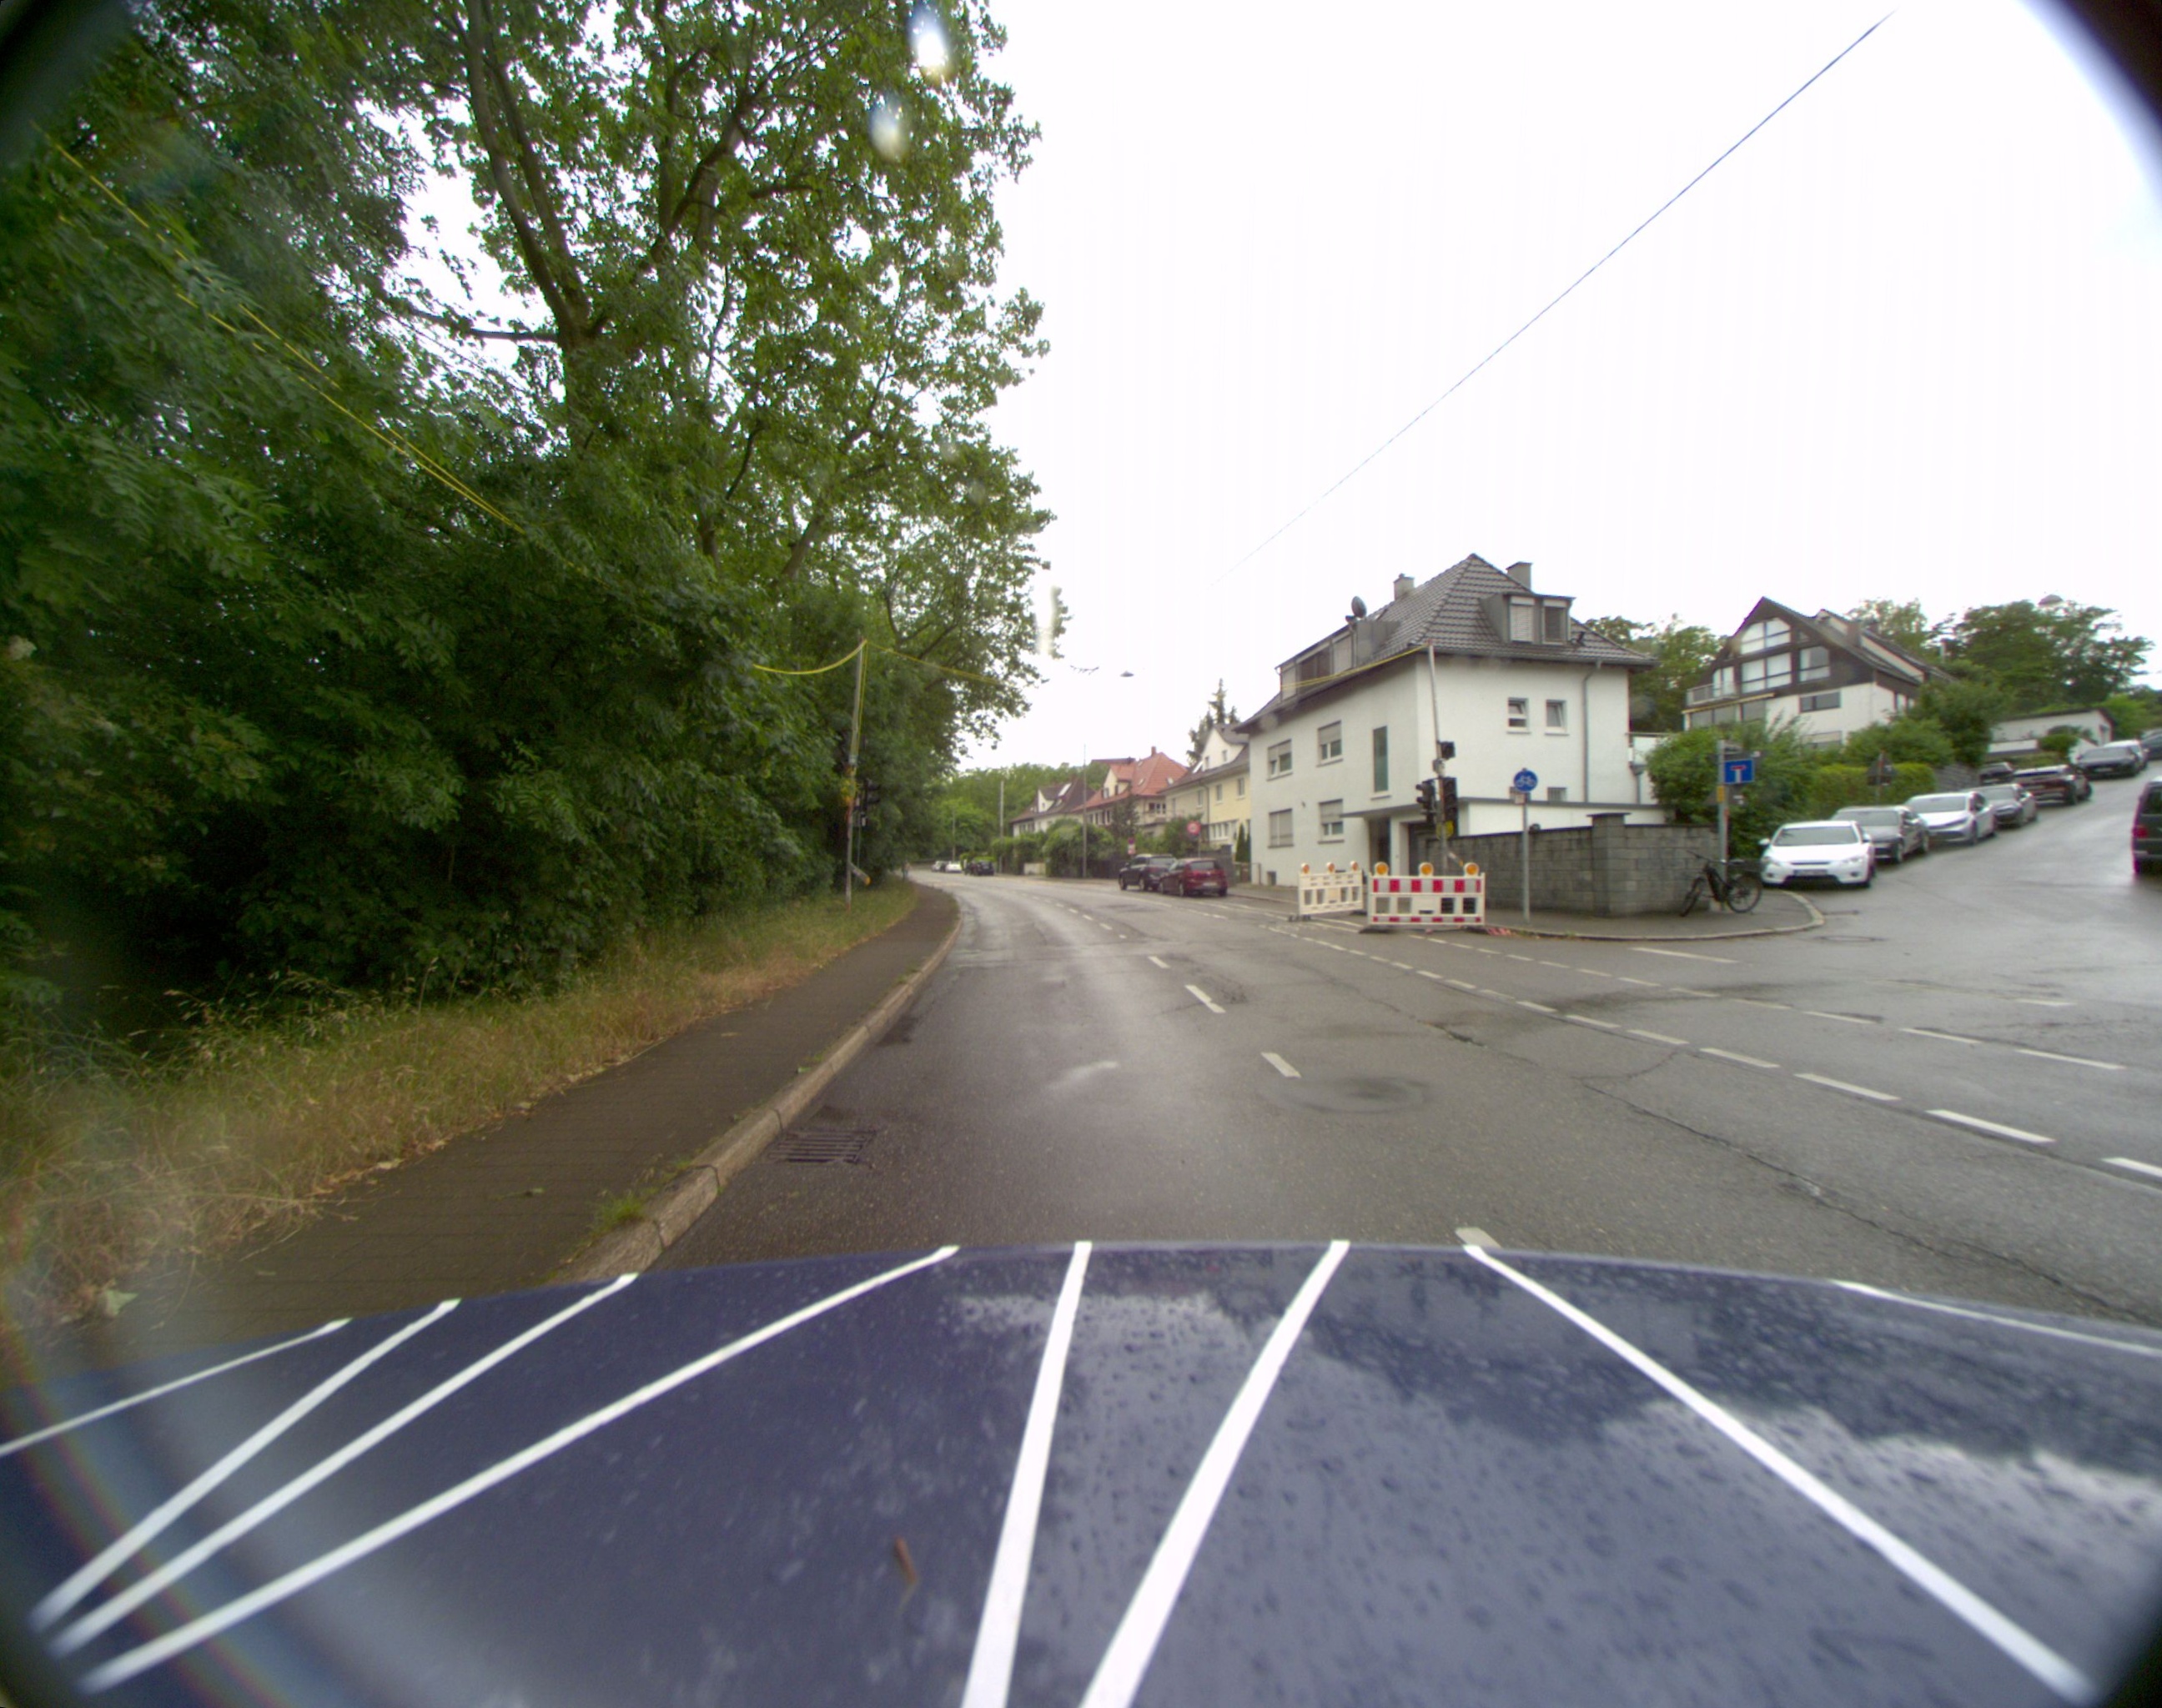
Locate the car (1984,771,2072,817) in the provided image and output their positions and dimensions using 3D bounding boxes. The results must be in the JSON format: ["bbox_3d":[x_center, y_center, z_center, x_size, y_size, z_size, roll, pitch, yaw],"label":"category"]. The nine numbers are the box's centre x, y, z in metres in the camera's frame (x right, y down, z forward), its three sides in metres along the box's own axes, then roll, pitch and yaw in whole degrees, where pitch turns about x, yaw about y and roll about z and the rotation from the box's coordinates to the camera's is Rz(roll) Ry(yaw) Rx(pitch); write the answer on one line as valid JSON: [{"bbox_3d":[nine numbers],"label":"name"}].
[{"bbox_3d":[40.096,-2.545,32.165,4.005,1.711,1.886,-4,3,-32],"label":"car"}]

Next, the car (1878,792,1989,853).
[{"bbox_3d":[27.061,-1.005,24.084,4.006,1.711,1.886,-4,3,-35],"label":"car"}]

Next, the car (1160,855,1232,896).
[{"bbox_3d":[4.443,0.811,29.927,1.621,1.432,4.227,-1,0,-8],"label":"car"}]

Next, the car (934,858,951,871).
[{"bbox_3d":[-18.798,1.375,103.197,1.739,1.414,4.275,-5,4,-16],"label":"car"}]

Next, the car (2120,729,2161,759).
[{"bbox_3d":[68.482,-7.029,47.515,1.894,1.711,3.990,-4,2,-30],"label":"car"}]

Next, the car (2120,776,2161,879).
[{"bbox_3d":[23.722,-0.644,15.939,4.005,1.909,1.995,-7,4,-32],"label":"car"}]

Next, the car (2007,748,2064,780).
[{"bbox_3d":[57.431,-5.371,45.785,4.007,1.711,1.886,-5,3,-42],"label":"car"}]

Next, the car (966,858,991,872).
[{"bbox_3d":[-10.755,1.096,79.363,1.695,1.410,4.208,1,-1,-21],"label":"car"}]

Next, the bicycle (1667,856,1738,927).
[{"bbox_3d":[11.058,0.646,13.516,1.520,1.118,0.462,-4,3,-30],"label":"bicycle"}]

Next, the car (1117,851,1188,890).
[{"bbox_3d":[3.194,0.747,34.882,1.761,1.648,4.399,1,-1,-16],"label":"car"}]

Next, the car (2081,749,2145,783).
[{"bbox_3d":[59.155,-5.045,43.551,4.005,1.711,1.886,-4,3,-32],"label":"car"}]

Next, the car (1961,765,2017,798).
[{"bbox_3d":[52.361,-4.153,43.894,4.007,1.711,1.886,-5,3,-42],"label":"car"}]

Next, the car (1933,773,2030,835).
[{"bbox_3d":[32.157,-1.797,27.110,4.006,1.981,1.886,-5,3,-35],"label":"car"}]

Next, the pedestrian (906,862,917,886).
[{"bbox_3d":[-11.532,1.348,51.758,0.644,1.602,0.668,-1,2,-19],"label":"pedestrian"}]

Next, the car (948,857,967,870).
[{"bbox_3d":[-15.236,1.163,93.676,1.705,1.459,3.704,-1,0,-20],"label":"car"}]

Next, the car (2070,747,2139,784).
[{"bbox_3d":[54.120,-4.663,40.167,4.005,1.711,1.886,-4,3,-32],"label":"car"}]

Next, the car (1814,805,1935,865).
[{"bbox_3d":[22.645,-0.560,21.653,4.006,1.458,1.886,-5,3,-36],"label":"car"}]

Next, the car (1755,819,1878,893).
[{"bbox_3d":[17.724,-0.020,18.245,4.007,1.458,1.886,-5,3,-42],"label":"car"}]

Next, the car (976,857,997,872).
[{"bbox_3d":[-9.441,1.085,75.399,1.525,1.445,3.025,1,-1,-18],"label":"car"}]
